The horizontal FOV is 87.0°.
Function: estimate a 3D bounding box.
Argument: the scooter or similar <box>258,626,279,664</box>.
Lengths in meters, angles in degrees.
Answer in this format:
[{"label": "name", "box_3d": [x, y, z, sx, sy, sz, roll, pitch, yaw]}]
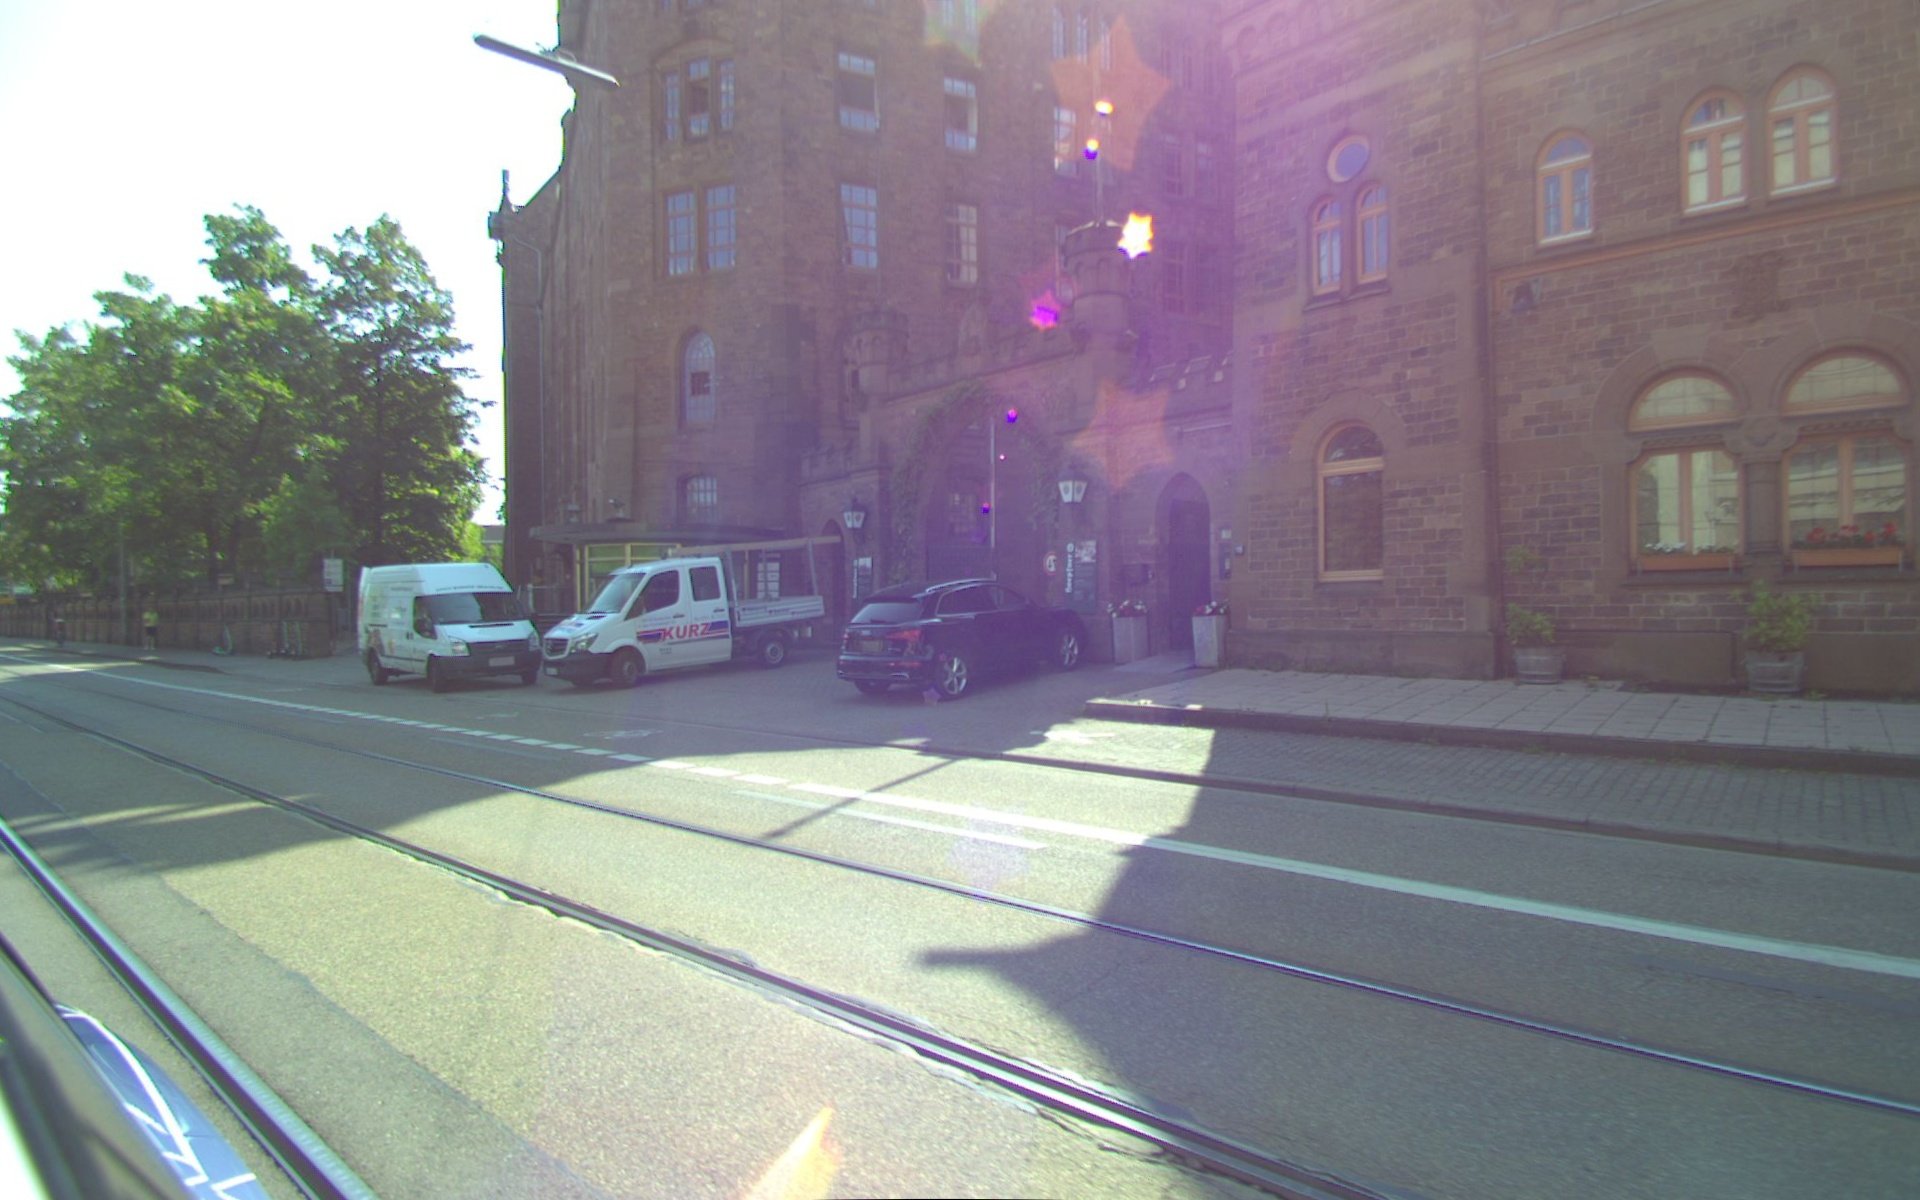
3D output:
[{"label": "scooter or similar", "box_3d": [-22.122, 1.431, 32.384, 0.334, 1.187, 1.182, -2, 0, -24]}]

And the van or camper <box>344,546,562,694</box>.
[{"label": "van or camper", "box_3d": [-10.790, 0.405, 21.272, 5.954, 2.695, 2.090, -2, 0, 43]}]

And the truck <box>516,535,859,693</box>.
[{"label": "truck", "box_3d": [-5.229, 0.149, 20.319, 6.249, 2.557, 2.132, -6, 1, -44]}]

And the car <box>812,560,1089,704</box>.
[{"label": "car", "box_3d": [-0.023, 0.384, 15.665, 1.999, 1.756, 4.093, -2, 3, 42]}]

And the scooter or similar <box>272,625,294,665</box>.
[{"label": "scooter or similar", "box_3d": [-21.184, 1.404, 31.679, 0.334, 1.187, 1.182, -2, 0, -24]}]

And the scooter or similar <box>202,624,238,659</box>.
[{"label": "scooter or similar", "box_3d": [-25.571, 1.440, 34.969, 1.309, 1.187, 0.418, -2, 0, 26]}]

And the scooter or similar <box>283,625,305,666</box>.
[{"label": "scooter or similar", "box_3d": [-20.342, 1.380, 30.920, 0.334, 1.187, 1.182, -2, 0, -24]}]

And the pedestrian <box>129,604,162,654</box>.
[{"label": "pedestrian", "box_3d": [-33.835, 1.193, 42.044, 0.982, 2.029, 0.855, -2, 0, 39]}]
